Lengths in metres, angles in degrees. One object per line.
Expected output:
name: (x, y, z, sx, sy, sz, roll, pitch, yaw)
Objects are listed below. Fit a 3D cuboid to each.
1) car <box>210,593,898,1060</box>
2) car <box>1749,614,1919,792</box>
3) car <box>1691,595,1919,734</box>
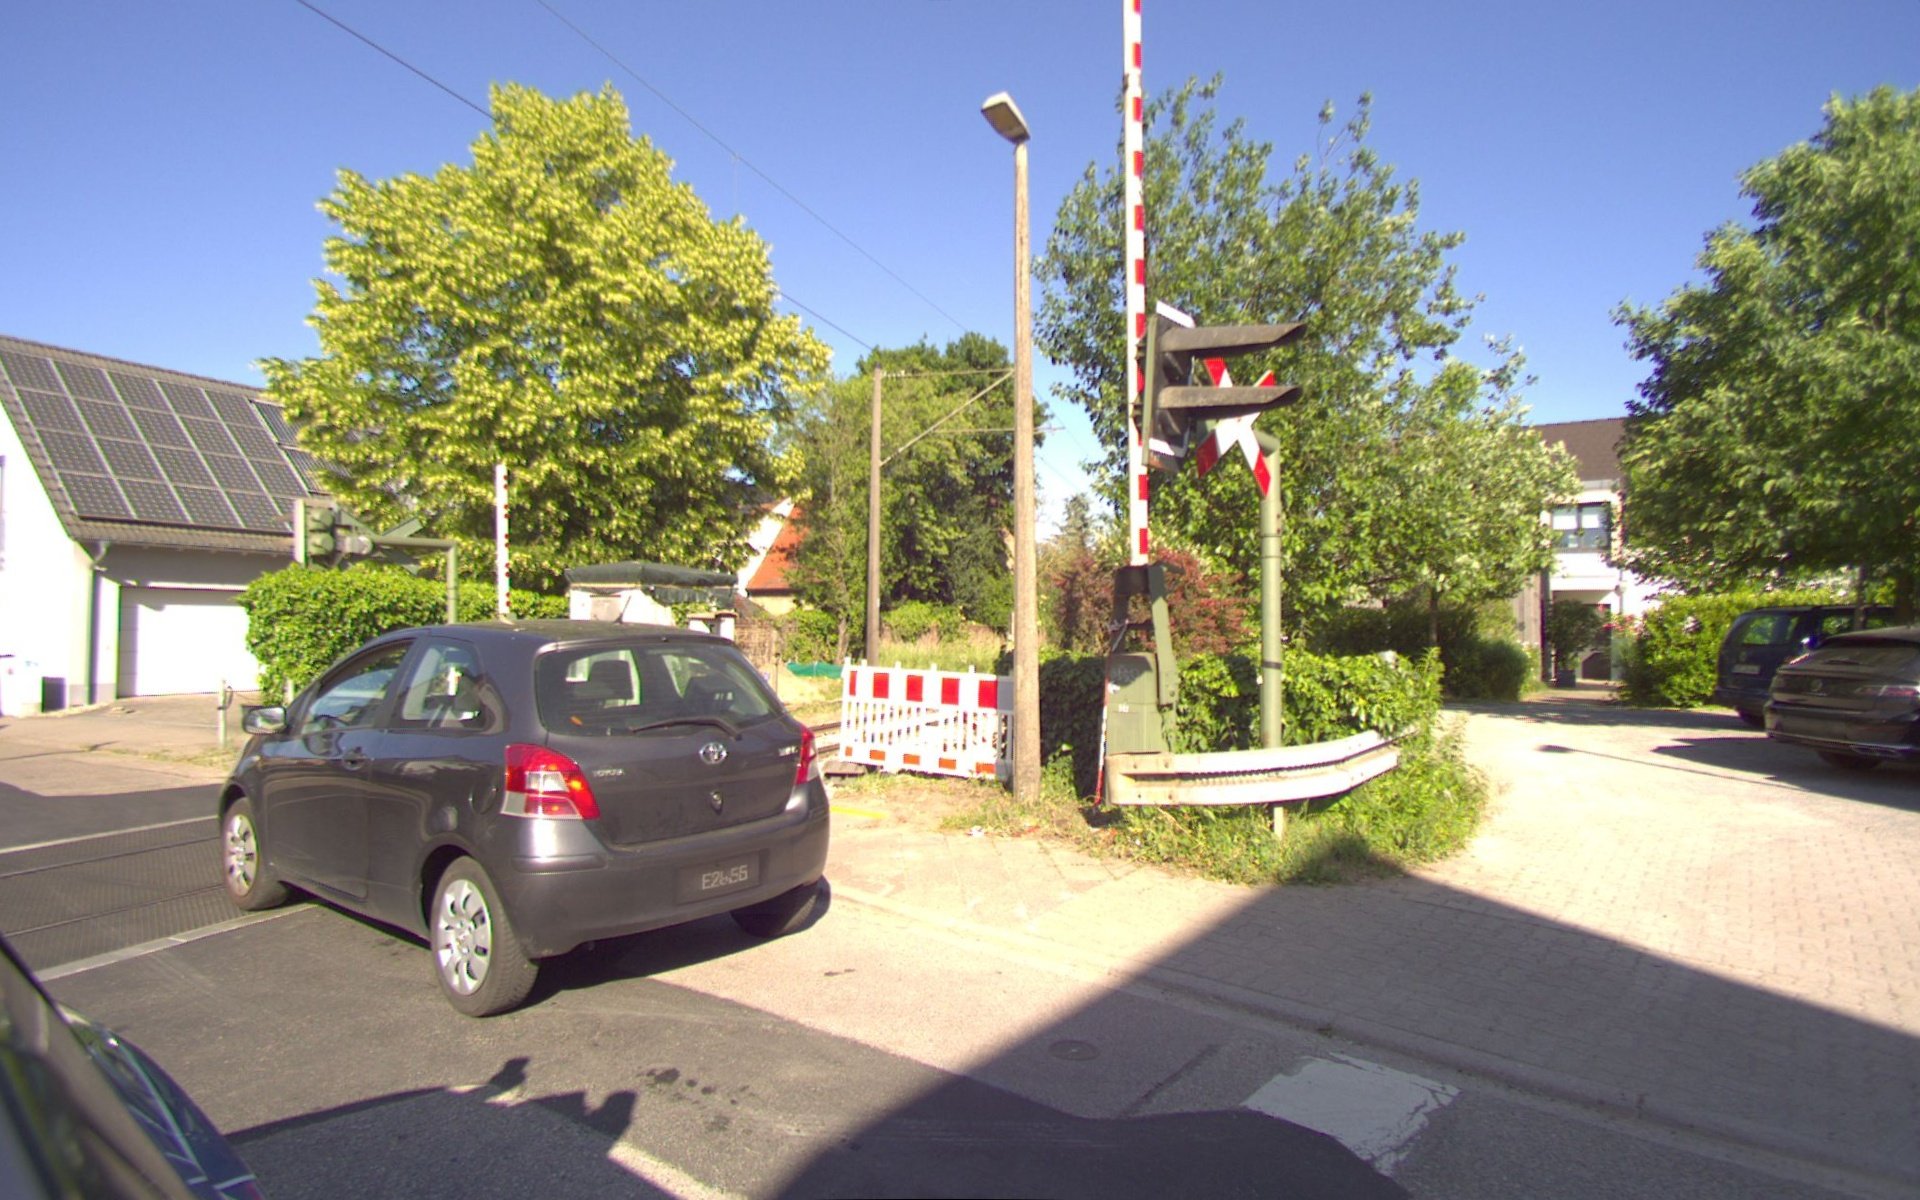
car: (-2.222, 0.777, 5.132, 3.651, 1.521, 1.669, -1, -2, 39)
car: (9.499, 0.838, 8.931, 3.776, 1.413, 1.643, 0, -2, -2)
car: (11.817, 0.794, 12.918, 3.776, 1.646, 1.653, 0, -1, -2)
